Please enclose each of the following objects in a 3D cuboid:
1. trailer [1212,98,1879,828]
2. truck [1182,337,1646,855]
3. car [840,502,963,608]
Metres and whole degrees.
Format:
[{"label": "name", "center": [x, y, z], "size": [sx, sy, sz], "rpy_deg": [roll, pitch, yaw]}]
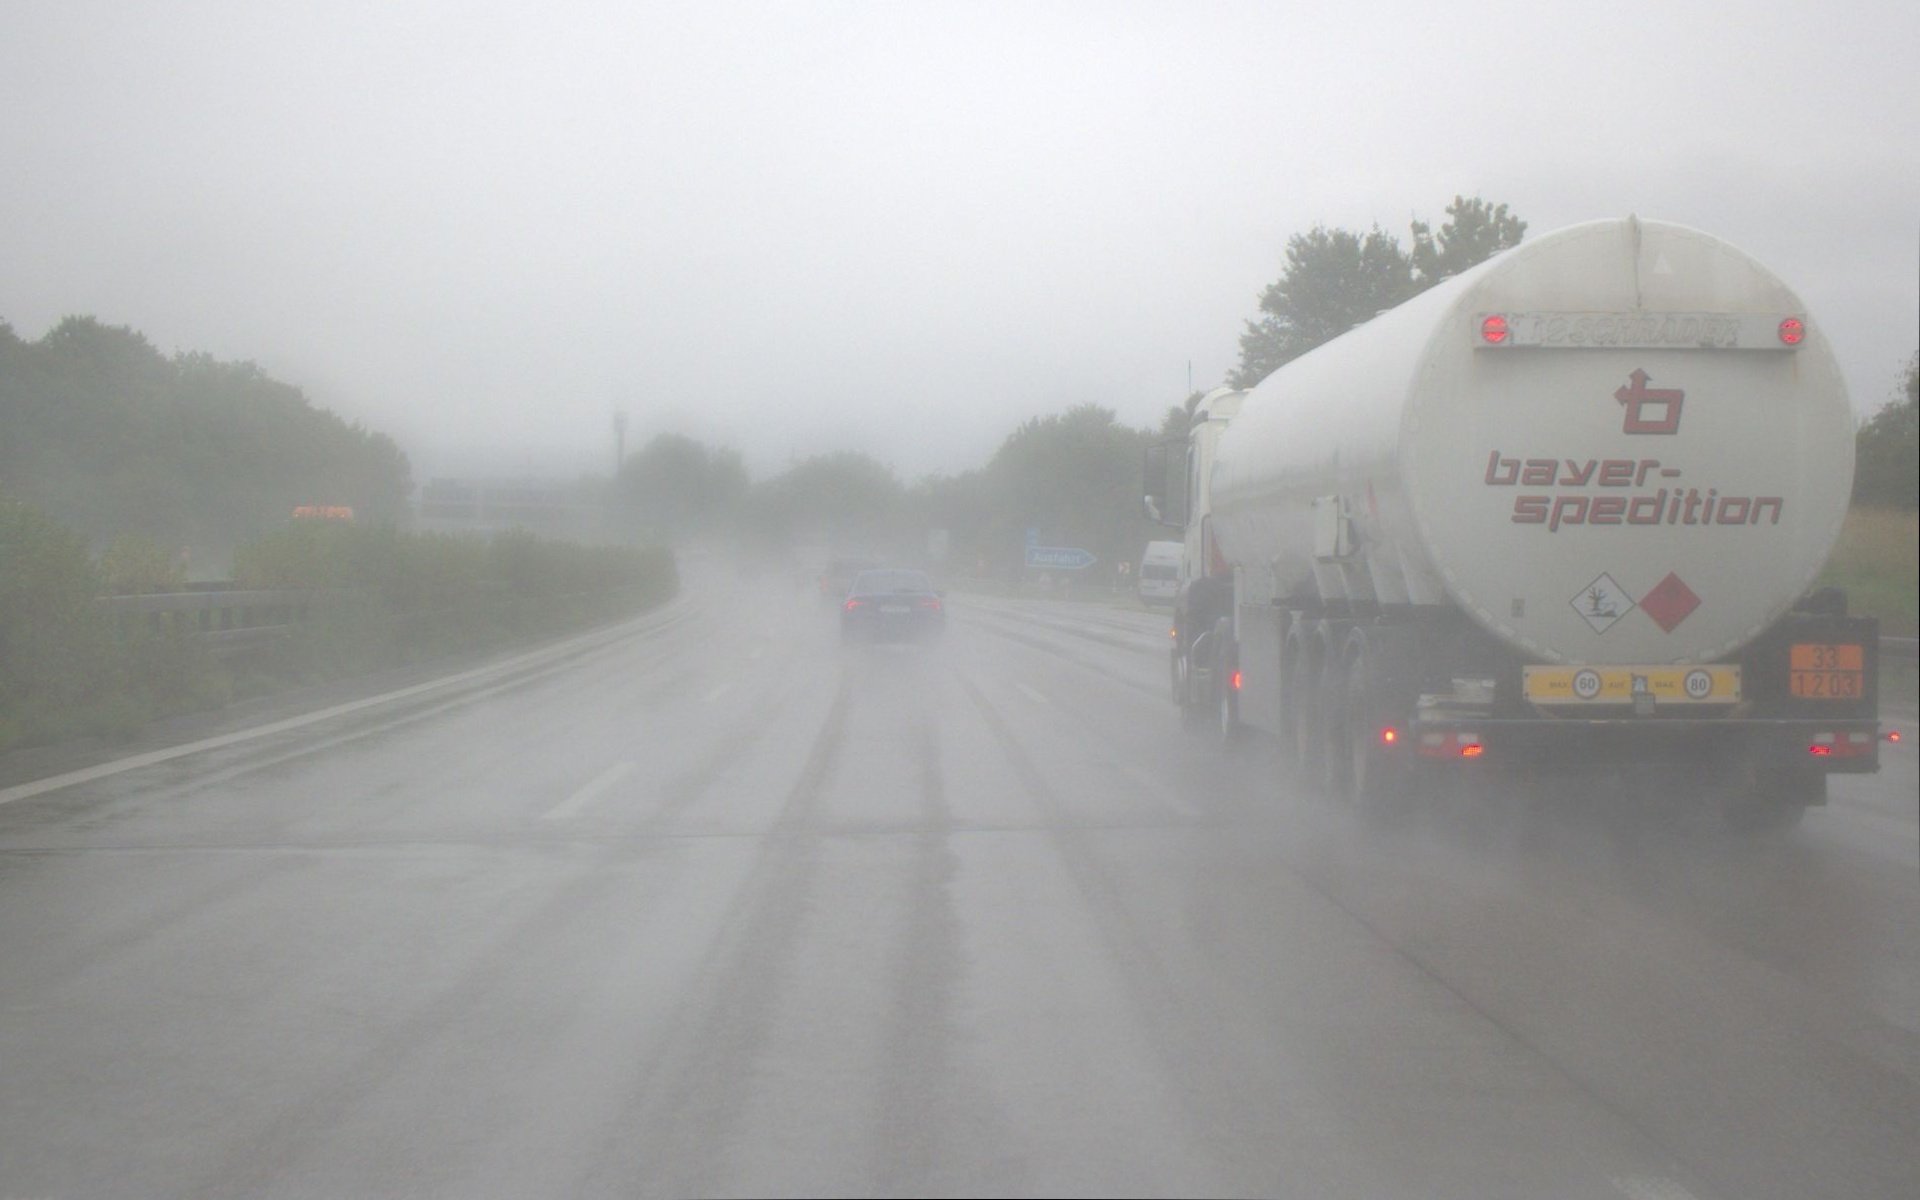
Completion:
[{"label": "trailer", "center": [3.389, -0.787, 22.385], "size": [3.004, 3.834, 8.623], "rpy_deg": [0, 1, 1]}, {"label": "truck", "center": [3.451, -0.064, 27.763], "size": [2.943, 3.672, 6.361], "rpy_deg": [-1, 1, 1]}, {"label": "car", "center": [-1.049, -0.810, 59.716], "size": [1.978, 1.750, 4.482], "rpy_deg": [1, 2, -3]}]
